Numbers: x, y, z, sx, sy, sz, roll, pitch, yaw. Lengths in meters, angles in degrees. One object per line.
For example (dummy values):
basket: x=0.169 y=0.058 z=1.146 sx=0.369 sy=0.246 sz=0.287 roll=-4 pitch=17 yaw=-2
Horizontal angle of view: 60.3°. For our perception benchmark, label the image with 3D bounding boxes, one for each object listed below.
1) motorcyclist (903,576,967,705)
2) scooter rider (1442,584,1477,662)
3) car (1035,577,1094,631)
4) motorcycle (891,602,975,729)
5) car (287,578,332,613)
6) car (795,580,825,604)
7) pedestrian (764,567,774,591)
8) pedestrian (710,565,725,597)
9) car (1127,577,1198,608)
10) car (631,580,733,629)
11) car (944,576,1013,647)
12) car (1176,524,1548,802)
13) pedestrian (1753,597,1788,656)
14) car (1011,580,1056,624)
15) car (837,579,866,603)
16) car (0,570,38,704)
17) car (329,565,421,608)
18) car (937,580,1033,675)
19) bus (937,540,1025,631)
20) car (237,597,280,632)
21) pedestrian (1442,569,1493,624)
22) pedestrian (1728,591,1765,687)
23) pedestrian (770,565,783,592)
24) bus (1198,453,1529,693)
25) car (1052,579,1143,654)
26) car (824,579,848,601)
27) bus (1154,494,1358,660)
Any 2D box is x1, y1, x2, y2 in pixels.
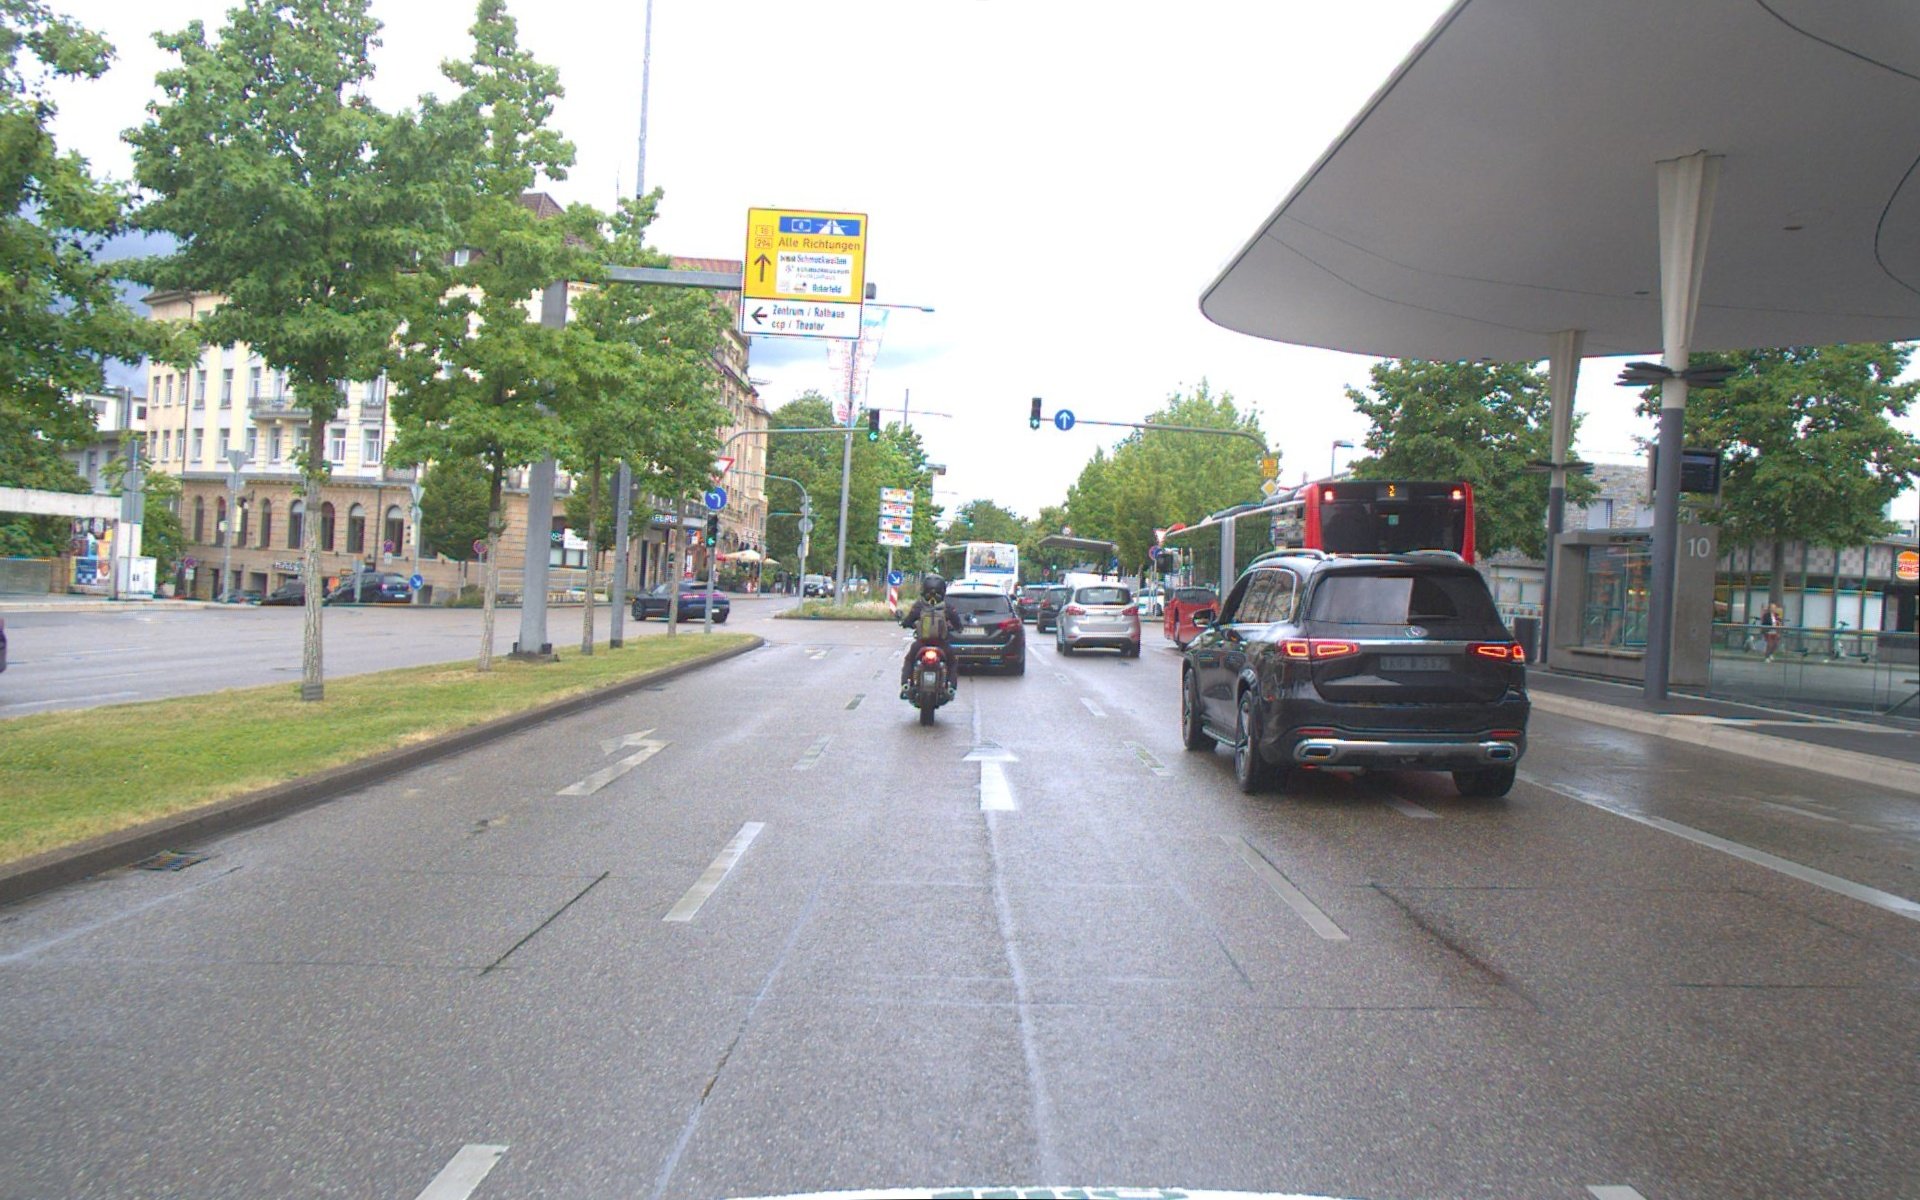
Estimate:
motorcyclist: x=-0.269 y=0.433 z=18.110 sx=0.628 sy=1.371 sz=0.689 roll=1 pitch=0 yaw=3
scooter rider: x=9.976 y=0.464 z=33.069 sx=0.579 sy=1.516 sz=0.765 roll=2 pitch=-1 yaw=13
car: x=3.192 y=0.103 z=51.043 sx=1.543 sy=1.594 sz=3.871 roll=0 pitch=1 yaw=0
motorcycle: x=-0.270 y=0.682 z=18.109 sx=0.776 sy=1.284 sz=1.856 roll=1 pitch=0 yaw=3
car: x=-32.188 y=-0.258 z=81.816 sx=1.640 sy=1.632 sz=3.221 roll=-1 pitch=2 yaw=-29
car: x=-10.340 y=-0.570 z=114.393 sx=1.743 sy=1.594 sz=3.430 roll=0 pitch=1 yaw=0
pedestrian: x=-14.374 y=-1.556 z=124.479 sx=0.551 sy=1.809 sz=0.497 roll=1 pitch=0 yaw=35
pedestrian: x=-15.445 y=-1.202 z=105.301 sx=0.715 sy=2.049 sz=0.819 roll=1 pitch=0 yaw=-27
car: x=10.699 y=-0.413 z=87.571 sx=1.565 sy=1.594 sz=3.743 roll=0 pitch=1 yaw=-39
car: x=-9.605 y=0.128 z=56.911 sx=1.801 sy=1.598 sz=4.348 roll=0 pitch=1 yaw=-36
car: x=0.402 y=0.229 z=38.995 sx=1.543 sy=1.594 sz=3.871 roll=0 pitch=1 yaw=0
car: x=3.080 y=0.408 z=13.808 sx=1.917 sy=1.908 sz=4.873 roll=0 pitch=1 yaw=0
pedestrian: x=23.131 y=0.770 z=47.211 sx=0.592 sy=1.605 sz=0.673 roll=5 pitch=-3 yaw=6
car: x=2.732 y=0.049 z=62.177 sx=1.543 sy=1.594 sz=3.796 roll=0 pitch=1 yaw=0
car: x=-7.373 y=-0.619 z=112.739 sx=1.743 sy=1.594 sz=3.430 roll=0 pitch=1 yaw=0
car: x=-11.837 y=0.411 z=17.524 sx=1.646 sy=1.554 sz=4.637 roll=2 pitch=0 yaw=-2
car: x=-25.038 y=-0.582 z=70.790 sx=3.627 sy=1.656 sz=1.837 roll=2 pitch=0 yaw=32
car: x=0.429 y=0.416 z=28.646 sx=1.543 sy=1.531 sz=3.871 roll=0 pitch=1 yaw=1
bus: x=0.875 y=-0.698 z=81.793 sx=2.783 sy=4.057 sz=11.846 roll=2 pitch=0 yaw=-7
car: x=-35.800 y=0.723 z=84.352 sx=1.641 sy=1.632 sz=3.220 roll=-2 pitch=2 yaw=-30
pedestrian: x=10.139 y=-0.066 z=33.072 sx=0.894 sy=1.002 sz=0.634 roll=3 pitch=-4 yaw=14
pedestrian: x=14.276 y=0.696 z=30.028 sx=0.563 sy=1.707 sz=0.582 roll=1 pitch=-1 yaw=26
pedestrian: x=-13.662 y=-1.619 z=123.145 sx=0.715 sy=2.000 sz=0.819 roll=1 pitch=0 yaw=-27
bus: x=6.552 y=-0.430 z=29.113 sx=3.219 sy=3.349 sz=10.878 roll=1 pitch=0 yaw=1
car: x=3.001 y=0.325 z=36.705 sx=1.705 sy=1.594 sz=3.871 roll=0 pitch=1 yaw=0
car: x=-9.036 y=-0.720 z=120.840 sx=1.543 sy=1.594 sz=3.430 roll=0 pitch=1 yaw=0
bus: x=6.649 y=-0.513 z=38.678 sx=3.223 sy=3.346 sz=8.850 roll=1 pitch=0 yaw=1
